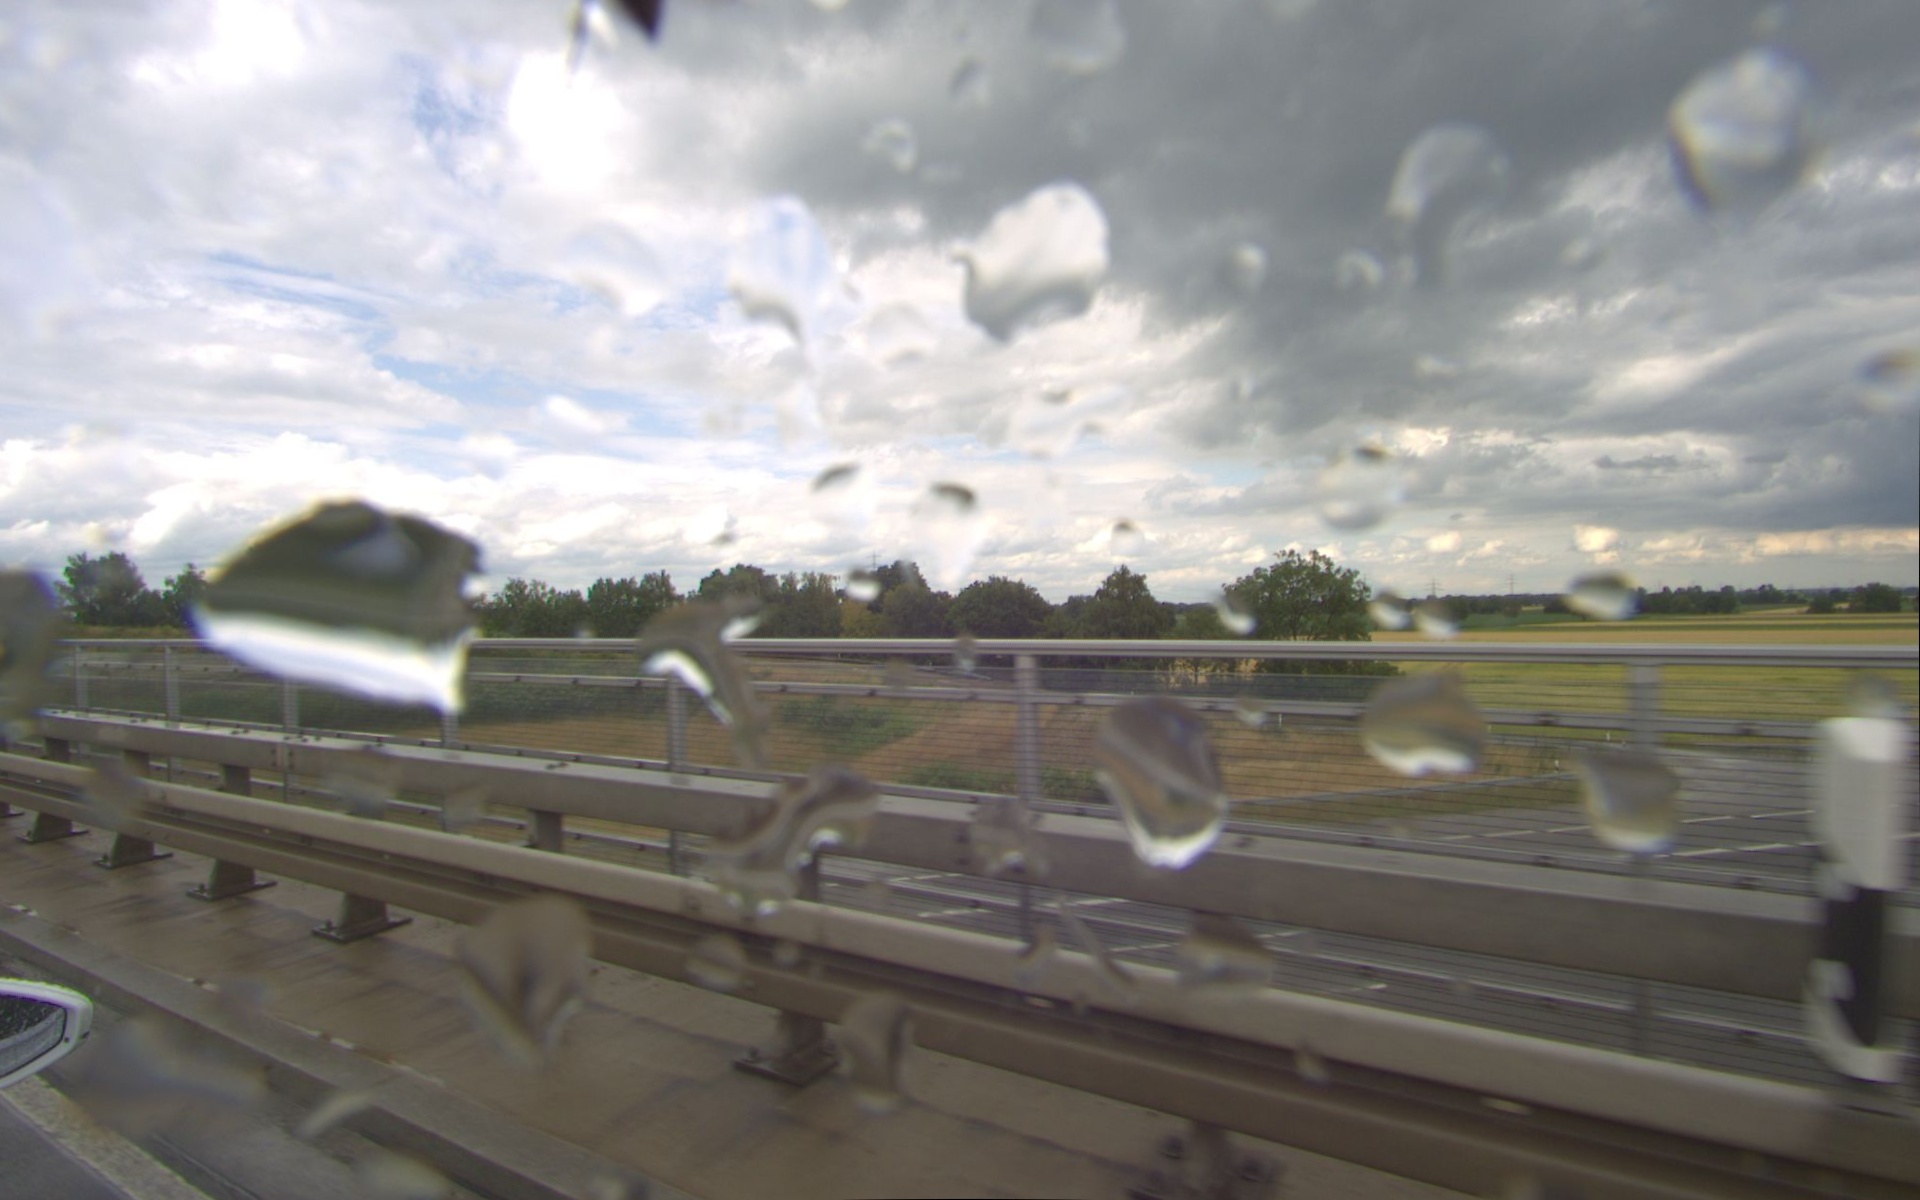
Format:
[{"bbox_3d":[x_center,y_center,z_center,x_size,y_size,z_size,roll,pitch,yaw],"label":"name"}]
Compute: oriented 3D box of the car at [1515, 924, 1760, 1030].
[{"bbox_3d":[15.318,8.484,22.723,4.635,1.504,1.814,0,-2,-10],"label":"car"}]
